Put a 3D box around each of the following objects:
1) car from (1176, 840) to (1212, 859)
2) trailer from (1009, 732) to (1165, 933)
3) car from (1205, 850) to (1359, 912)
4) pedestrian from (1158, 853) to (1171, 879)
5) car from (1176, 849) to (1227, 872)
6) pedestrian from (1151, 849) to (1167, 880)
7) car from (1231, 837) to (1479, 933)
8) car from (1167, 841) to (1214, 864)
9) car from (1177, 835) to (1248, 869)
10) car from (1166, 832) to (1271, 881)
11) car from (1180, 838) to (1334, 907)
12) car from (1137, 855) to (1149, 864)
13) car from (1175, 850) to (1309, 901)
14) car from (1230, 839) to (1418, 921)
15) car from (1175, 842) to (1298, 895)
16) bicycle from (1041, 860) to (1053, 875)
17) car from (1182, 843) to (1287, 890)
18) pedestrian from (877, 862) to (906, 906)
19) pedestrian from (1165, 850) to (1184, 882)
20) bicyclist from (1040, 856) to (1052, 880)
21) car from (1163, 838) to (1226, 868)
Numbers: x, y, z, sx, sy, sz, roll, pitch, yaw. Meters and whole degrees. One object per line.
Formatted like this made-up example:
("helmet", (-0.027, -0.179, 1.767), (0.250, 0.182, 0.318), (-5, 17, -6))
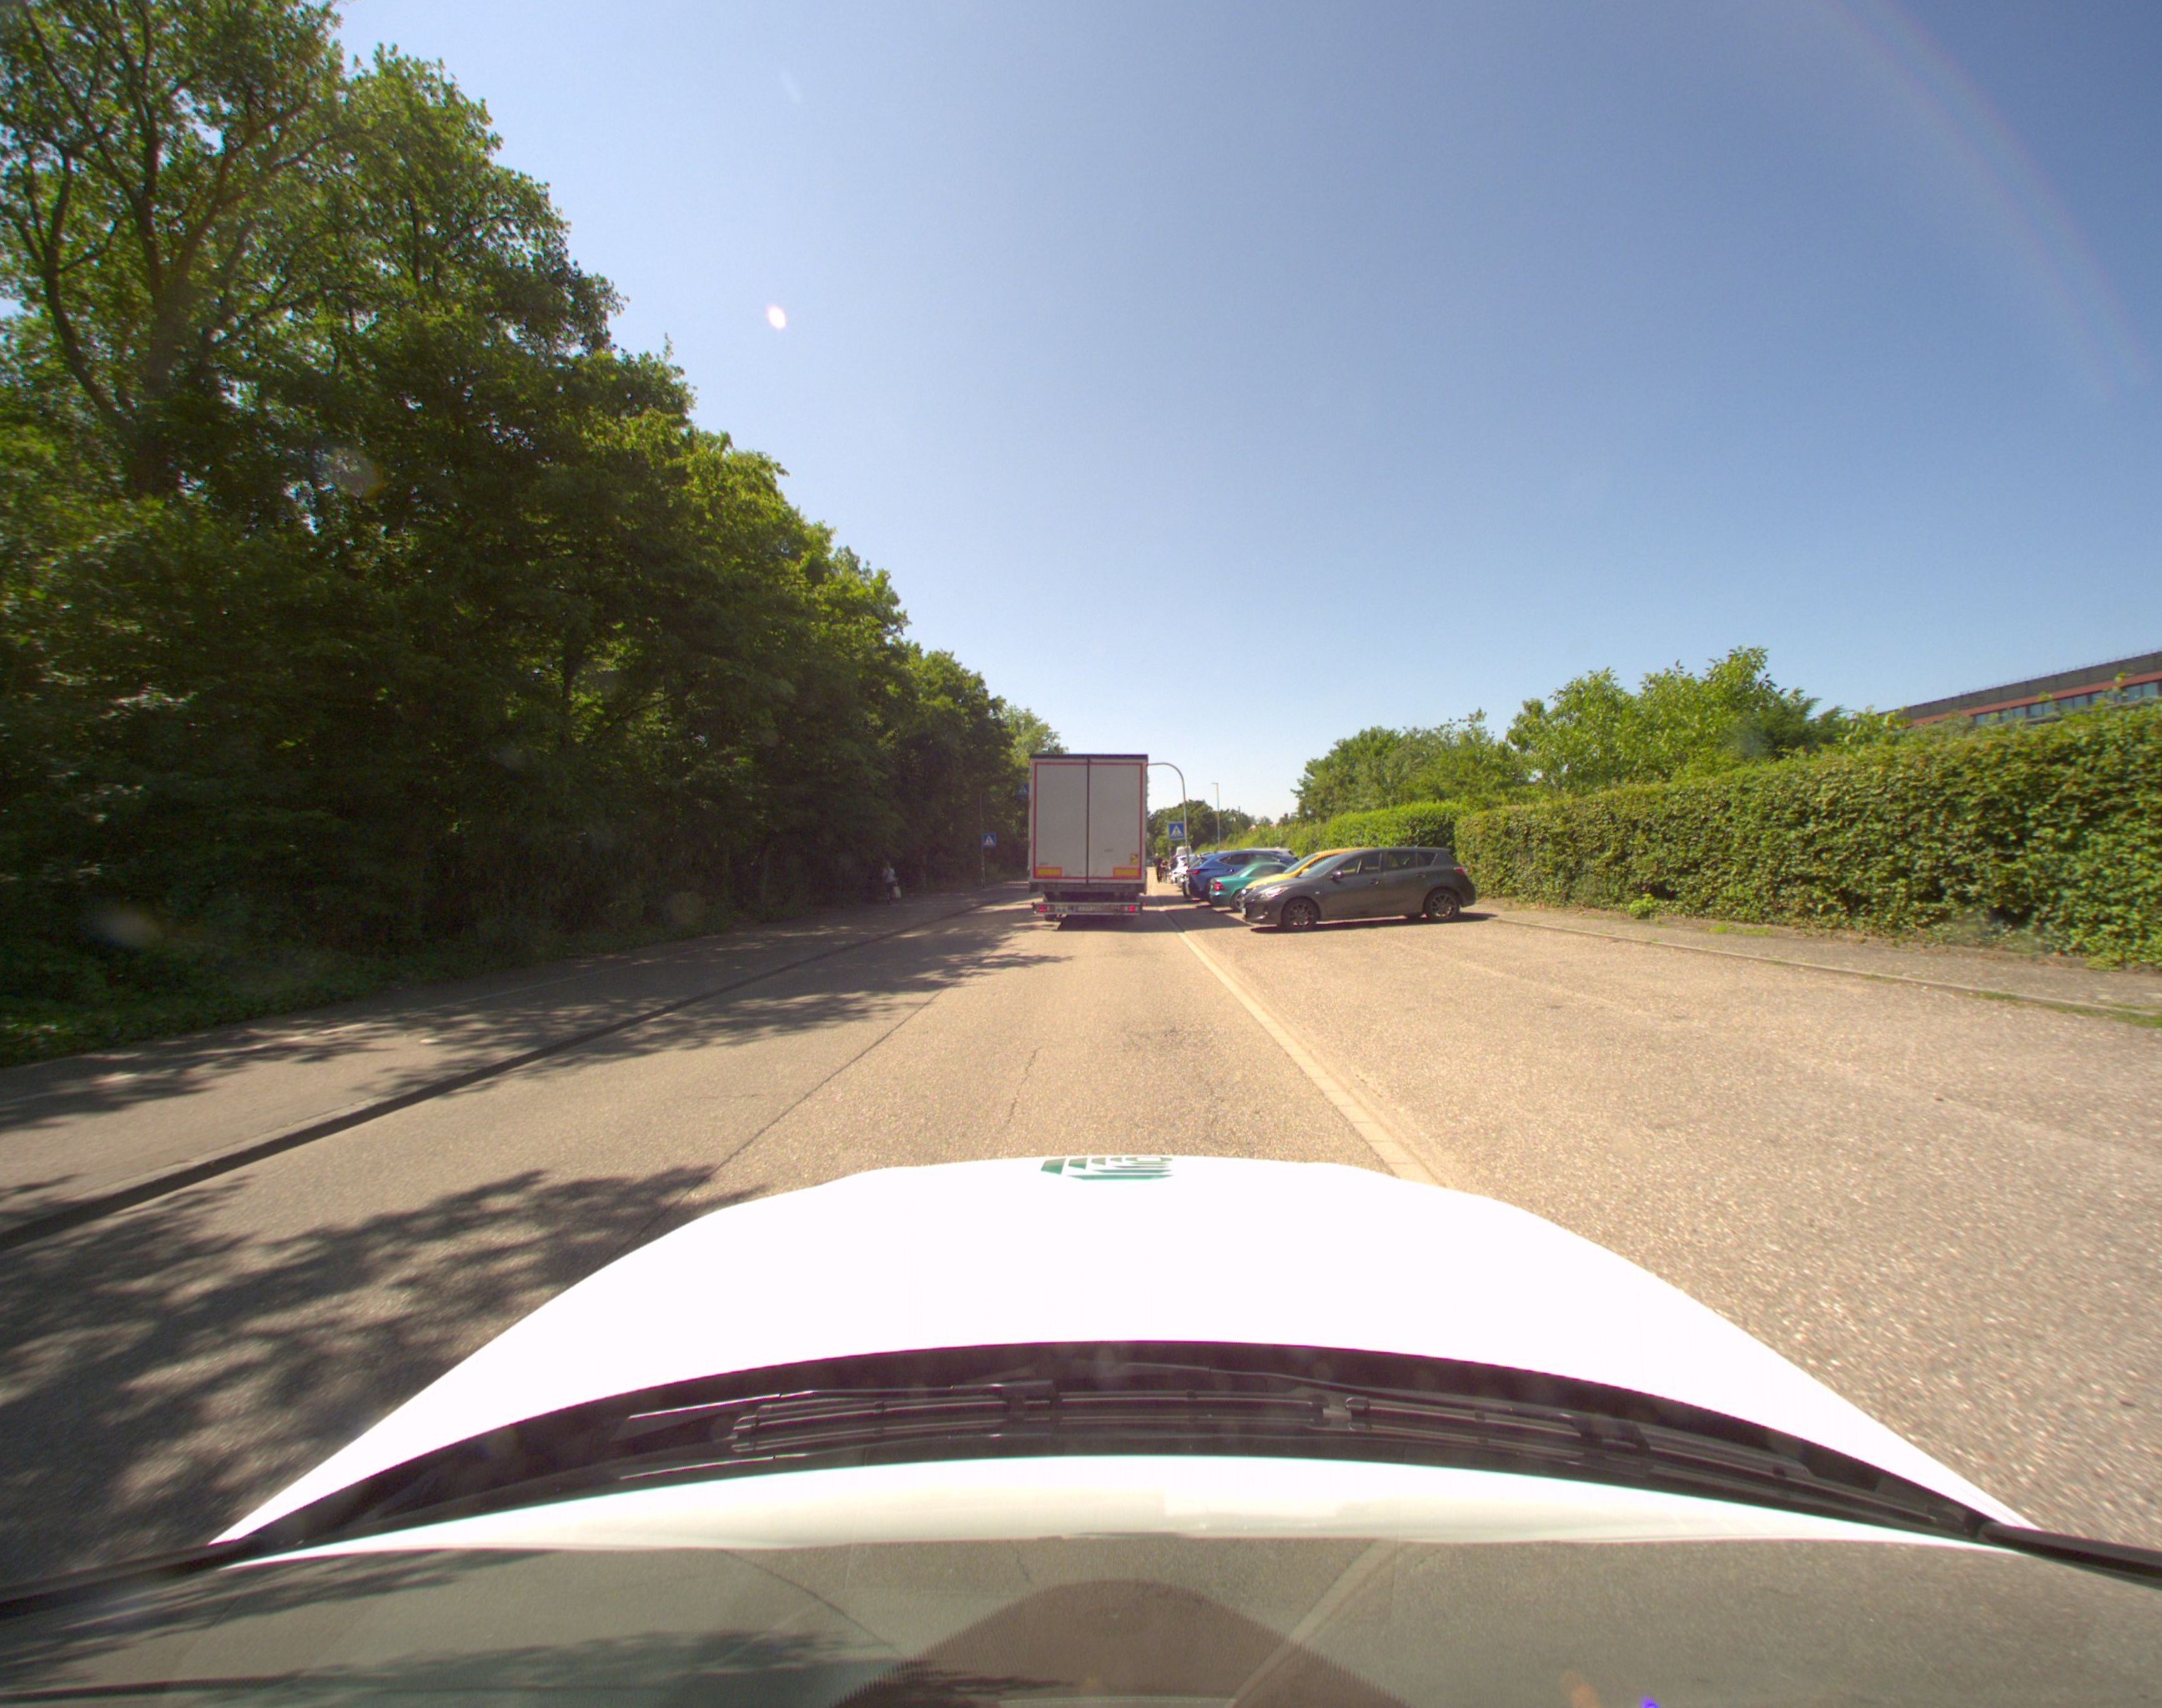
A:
("car", (13.214, -0.514, 95.585), (3.937, 1.798, 1.816), (-6, -2, 5))
("trailer", (0.441, -0.462, 22.974), (3.100, 4.102, 11.546), (-3, 0, 3))
("car", (5.365, 0.709, 22.087), (3.719, 1.268, 1.629), (-6, 0, 3))
("pedestrian", (5.290, 0.751, 51.437), (0.586, 1.614, 0.746), (-6, -1, 8))
("car", (10.169, 0.505, 69.014), (3.944, 1.618, 1.813), (-4, 0, -1))
("pedestrian", (5.018, 0.668, 52.206), (0.817, 1.834, 0.794), (-6, -1, 8))
("car", (5.204, 0.578, 15.912), (4.148, 1.495, 1.883), (-4, 0, 1))
("car", (10.083, -0.112, 75.008), (3.944, 1.765, 1.813), (-5, 0, -1))
("car", (8.182, -0.106, 50.822), (3.947, 1.668, 1.812), (-6, 0, -3))
("car", (6.290, 0.128, 37.597), (4.390, 1.698, 1.877), (-7, 0, 0))
("car", (5.289, 0.548, 24.853), (4.223, 1.634, 1.823), (-5, 0, 1))
("car", (11.604, 1.097, 151.405), (1.769, 1.486, 4.012), (-3, 0, 11))
("car", (5.433, 0.697, 27.857), (4.122, 1.439, 1.812), (-3, 0, -4))
("car", (5.563, 0.588, 18.994), (3.788, 1.455, 1.775), (-6, 0, 1))
("car", (5.825, 0.543, 30.894), (4.221, 1.654, 1.900), (-4, -2, 1))
("bicycle", (-2.604, 1.010, 62.392), (0.451, 1.047, 2.208), (-2, 0, 8))
("car", (6.517, 0.516, 34.965), (4.108, 1.657, 1.888), (-4, 0, 3))
("pedestrian", (-7.124, 1.120, 30.670), (0.825, 1.622, 0.783), (-2, 0, 1))
("pedestrian", (5.681, 0.713, 49.444), (0.902, 1.798, 0.937), (-6, -1, 8))
("bicyclist", (-2.644, 1.054, 62.060), (0.713, 1.758, 0.797), (-2, 0, 7))
("car", (7.860, -0.090, 56.535), (3.947, 1.668, 1.812), (-6, 2, -3))
